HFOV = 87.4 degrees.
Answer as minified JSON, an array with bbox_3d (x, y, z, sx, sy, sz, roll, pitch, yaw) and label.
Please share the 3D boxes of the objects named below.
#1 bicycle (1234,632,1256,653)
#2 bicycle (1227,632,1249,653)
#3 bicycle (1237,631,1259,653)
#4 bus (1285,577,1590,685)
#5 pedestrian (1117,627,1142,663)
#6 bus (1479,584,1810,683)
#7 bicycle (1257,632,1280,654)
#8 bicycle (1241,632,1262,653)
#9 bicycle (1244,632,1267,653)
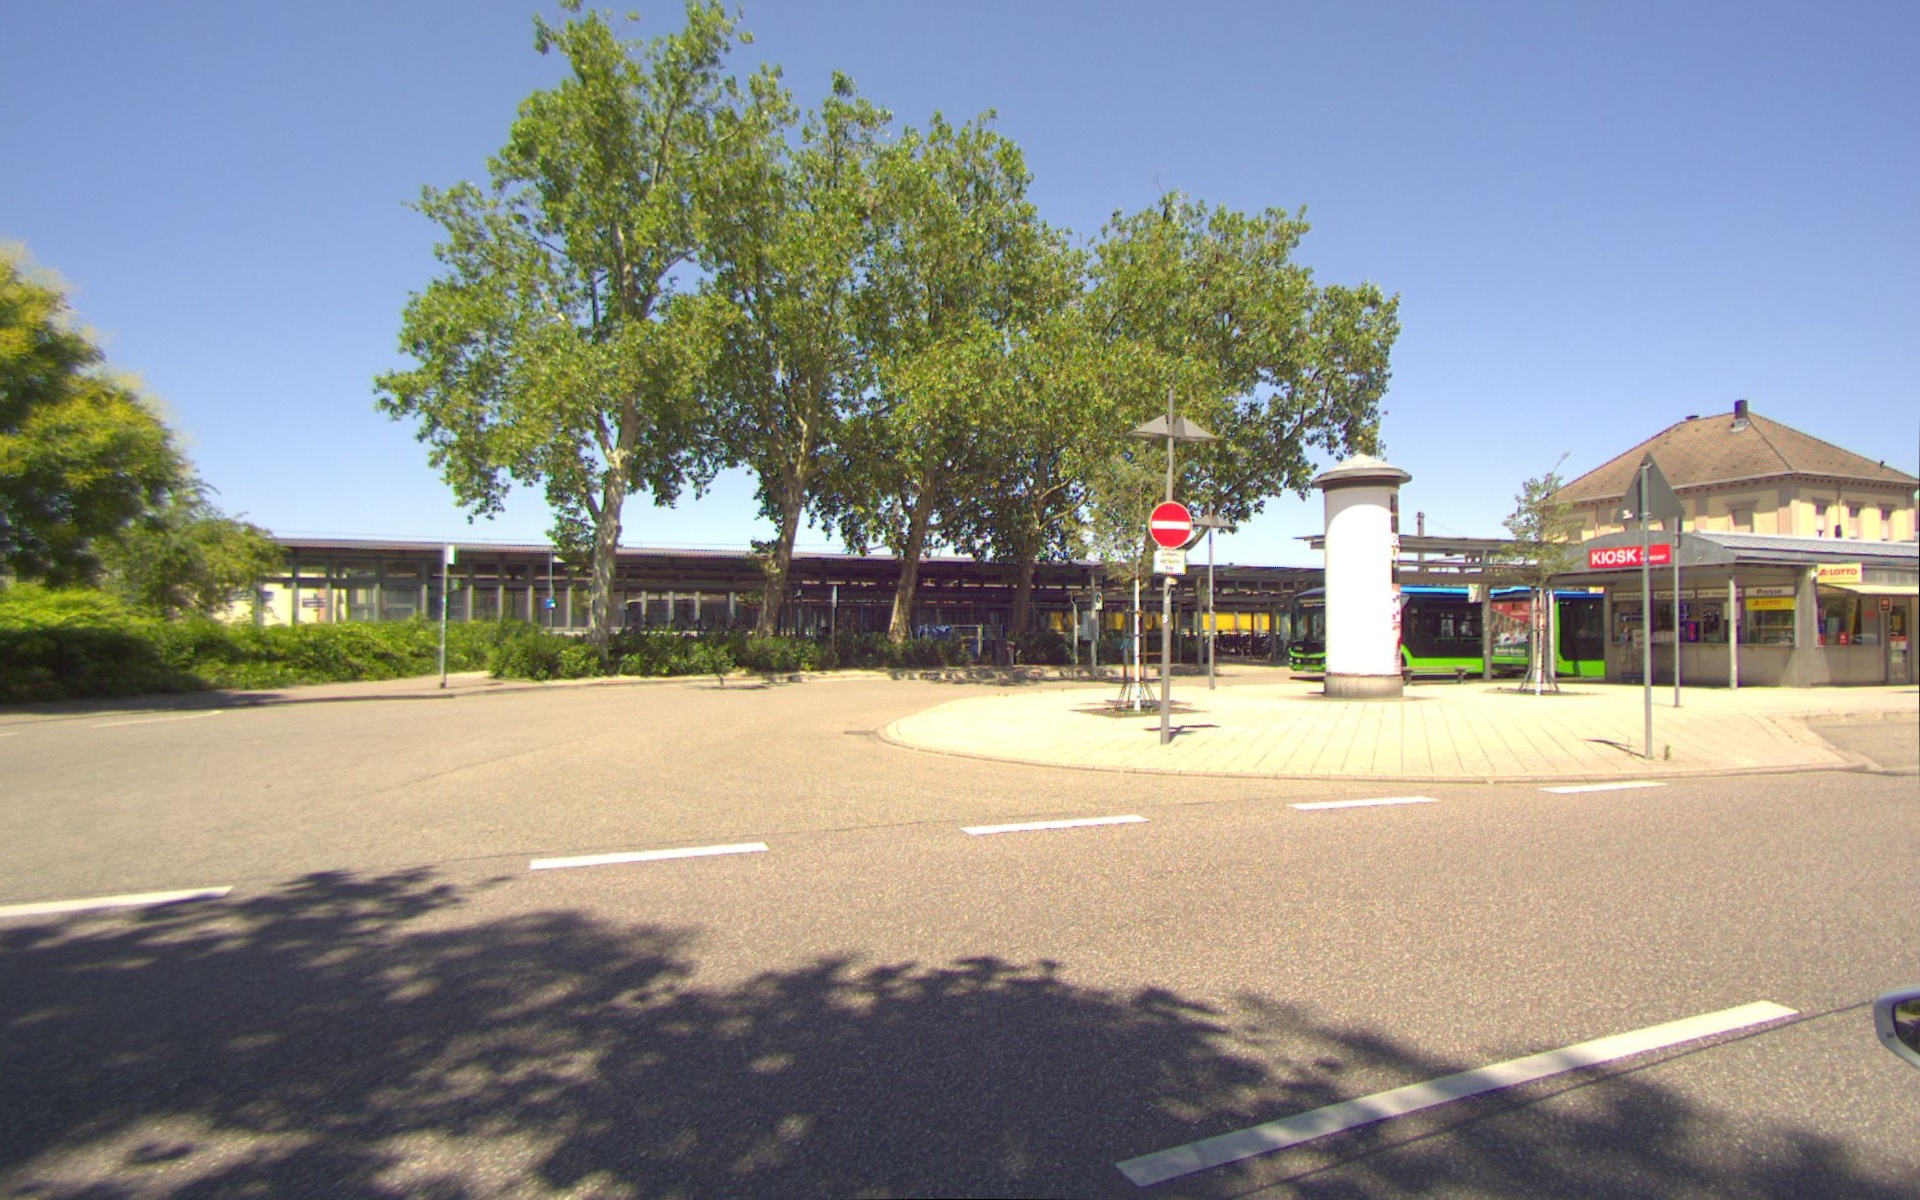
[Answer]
[{"bbox_3d":[15.288,2.283,53.943,0.380,1.108,1.380,2,-3,-19],"label":"bicycle"},{"bbox_3d":[14.889,2.265,53.799,0.380,1.108,1.380,2,-3,-19],"label":"bicycle"},{"bbox_3d":[14.976,2.195,52.252,0.380,1.108,1.380,2,-3,-18],"label":"bicycle"},{"bbox_3d":[17.481,1.118,36.480,12.035,3.573,2.160,1,-1,-20],"label":"bus"},{"bbox_3d":[6.938,1.833,41.066,0.810,1.483,0.604,1,-2,-24],"label":"pedestrian"},{"bbox_3d":[24.297,1.210,35.308,13.694,3.081,2.669,1,-2,-23],"label":"bus"},{"bbox_3d":[16.171,2.248,52.684,0.380,1.108,1.380,2,-3,-19],"label":"bicycle"},{"bbox_3d":[15.692,2.300,54.065,0.380,1.108,1.380,2,-3,-19],"label":"bicycle"},{"bbox_3d":[15.413,2.213,52.395,0.380,1.108,1.380,2,-3,-19],"label":"bicycle"}]
